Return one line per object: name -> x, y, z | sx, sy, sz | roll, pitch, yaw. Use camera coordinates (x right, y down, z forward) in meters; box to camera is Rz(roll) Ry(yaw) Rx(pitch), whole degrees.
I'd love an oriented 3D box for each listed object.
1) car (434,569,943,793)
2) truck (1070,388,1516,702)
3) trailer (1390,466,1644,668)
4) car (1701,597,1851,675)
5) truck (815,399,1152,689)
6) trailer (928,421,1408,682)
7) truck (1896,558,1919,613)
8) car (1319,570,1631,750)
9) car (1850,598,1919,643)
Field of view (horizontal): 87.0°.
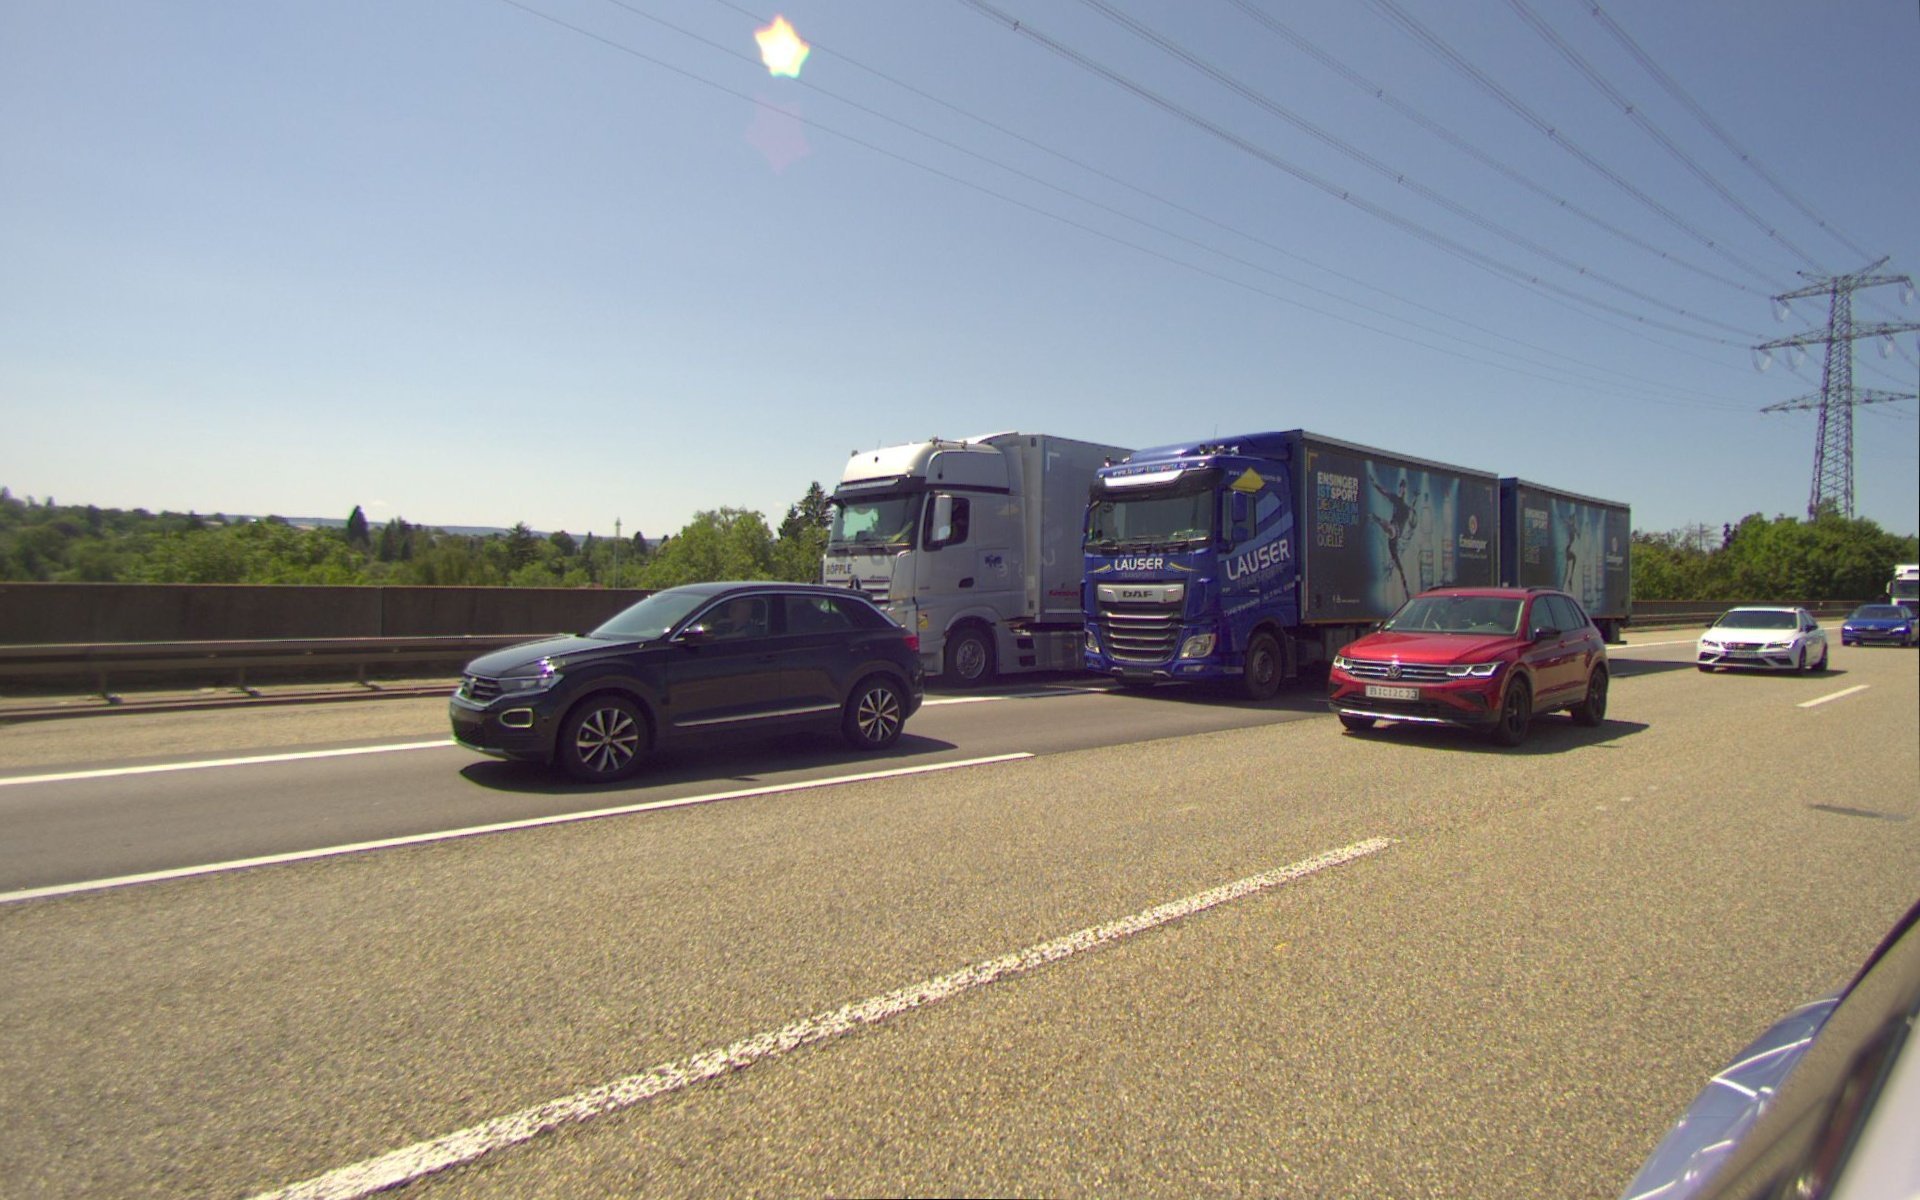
car -> -2.241, 0.550, 8.980 | 4.035, 1.546, 1.739 | 0, 0, -41
truck -> 6.333, -0.728, 17.623 | 10.265, 4.118, 2.527 | 0, 0, -41
trailer -> 13.320, -0.657, 23.796 | 8.332, 3.995, 2.570 | 0, 0, -41
car -> 17.738, 0.703, 21.937 | 4.001, 1.508, 1.842 | 0, 0, -41
truck -> 0.562, -0.819, 17.351 | 5.618, 4.172, 2.520 | 0, 0, -42
trailer -> 5.289, -0.789, 21.622 | 13.536, 4.172, 2.538 | 0, 0, -42
truck -> 67.672, -1.004, 70.189 | 10.777, 3.604, 2.982 | 0, 0, -41
car -> 5.966, 0.543, 11.500 | 4.151, 1.683, 1.778 | 0, 1, -42
car -> 32.610, 0.673, 35.299 | 4.135, 1.463, 1.739 | 0, 1, -40
